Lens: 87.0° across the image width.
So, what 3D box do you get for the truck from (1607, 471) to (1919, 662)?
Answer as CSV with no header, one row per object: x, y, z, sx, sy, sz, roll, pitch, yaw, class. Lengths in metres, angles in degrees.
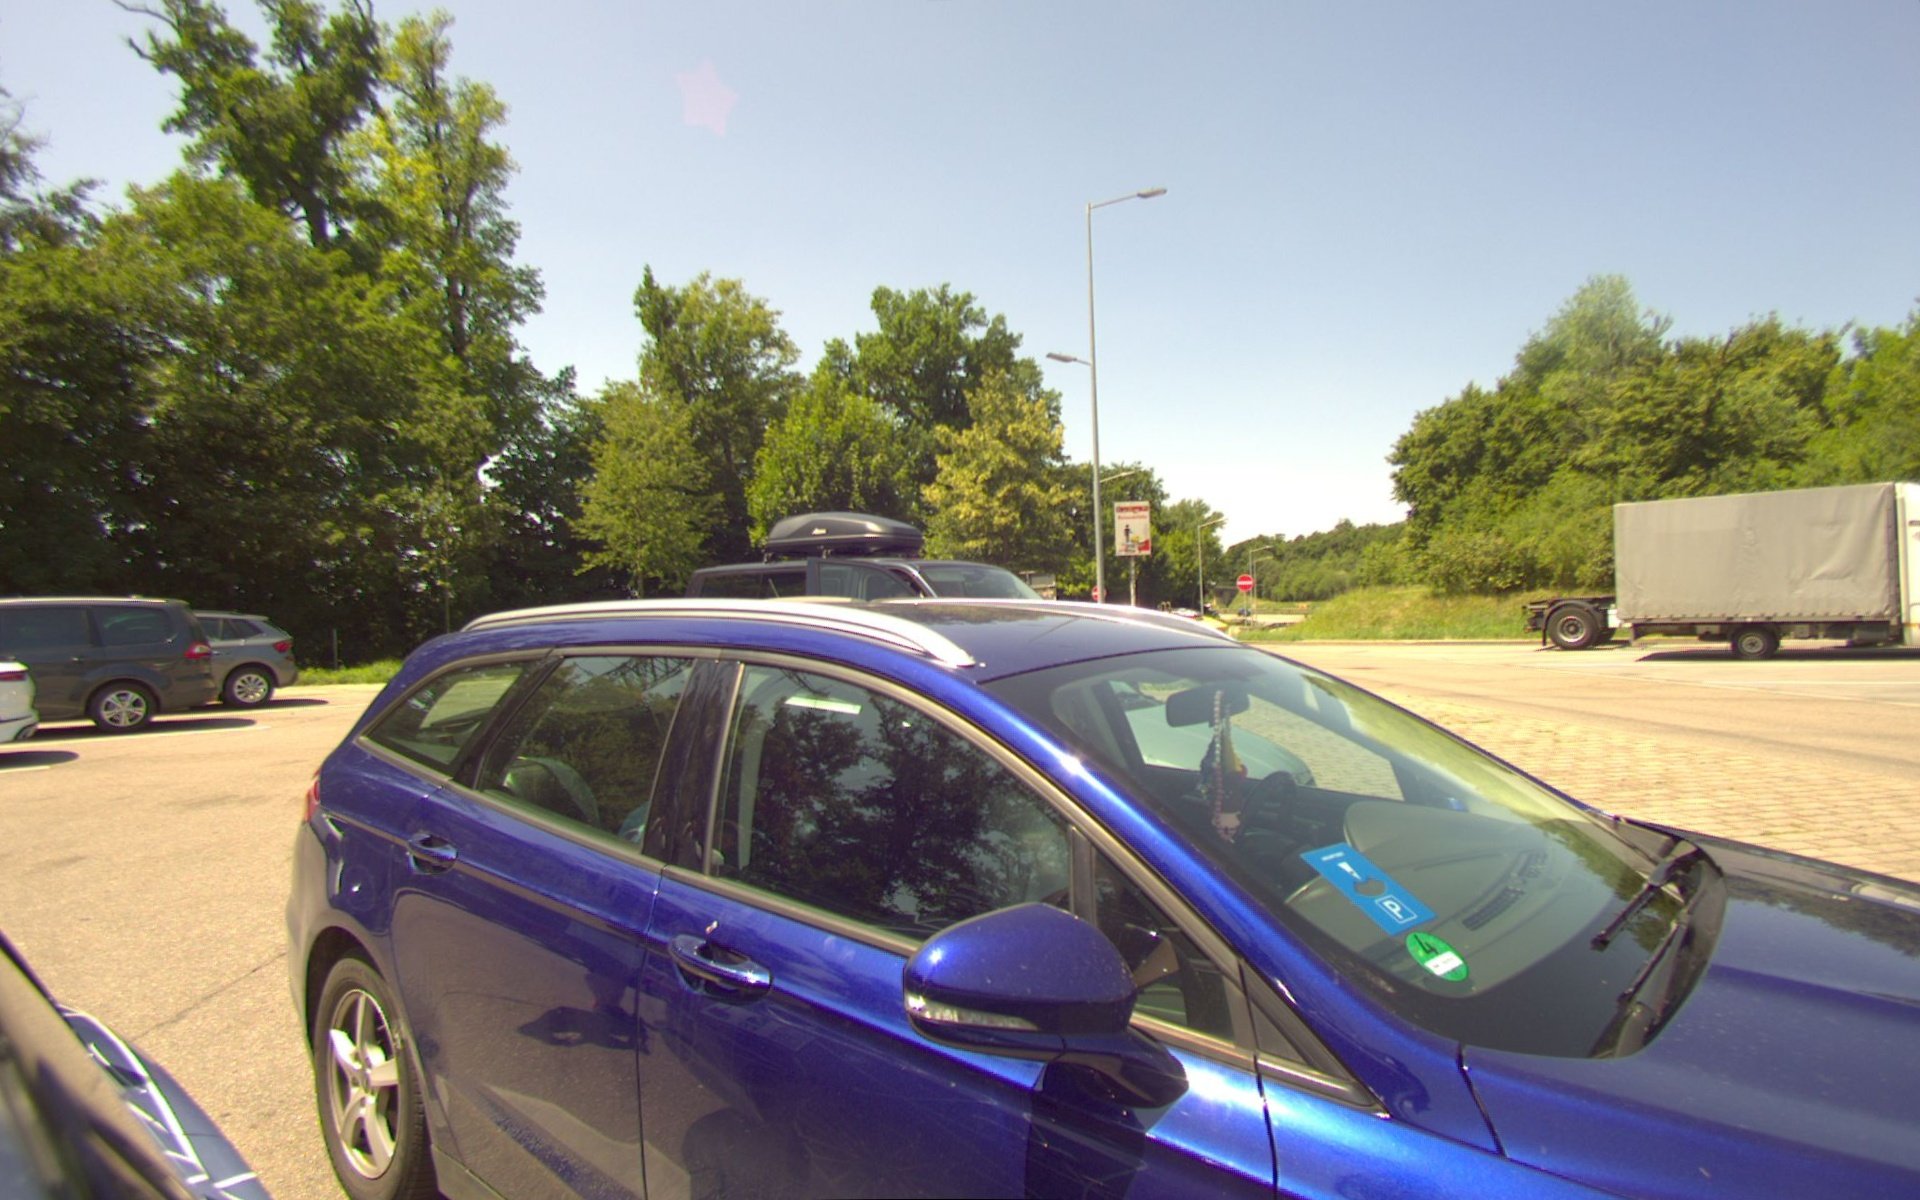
16.712,-0.600,18.938,7.337,3.235,2.502,-4,-1,41,truck

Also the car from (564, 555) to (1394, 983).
-0.211,0.670,5.790,4.637,1.545,1.720,-2,0,39,car

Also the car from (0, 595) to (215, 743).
-11.650,0.823,12.627,3.762,1.737,1.724,0,-1,-38,car

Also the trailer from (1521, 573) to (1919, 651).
17.640,0.313,23.159,8.088,1.385,2.200,-4,-1,41,trailer

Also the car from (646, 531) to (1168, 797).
-0.655,0.510,9.363,4.635,1.884,1.937,-2,0,37,car

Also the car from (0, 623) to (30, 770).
-10.992,0.932,9.163,3.767,1.396,1.722,0,-1,-43,car

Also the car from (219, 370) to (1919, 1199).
0.251,0.632,2.078,4.637,1.493,1.720,-2,-1,39,car

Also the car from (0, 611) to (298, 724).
-12.589,0.957,15.708,3.762,1.551,1.724,0,-1,-38,car
